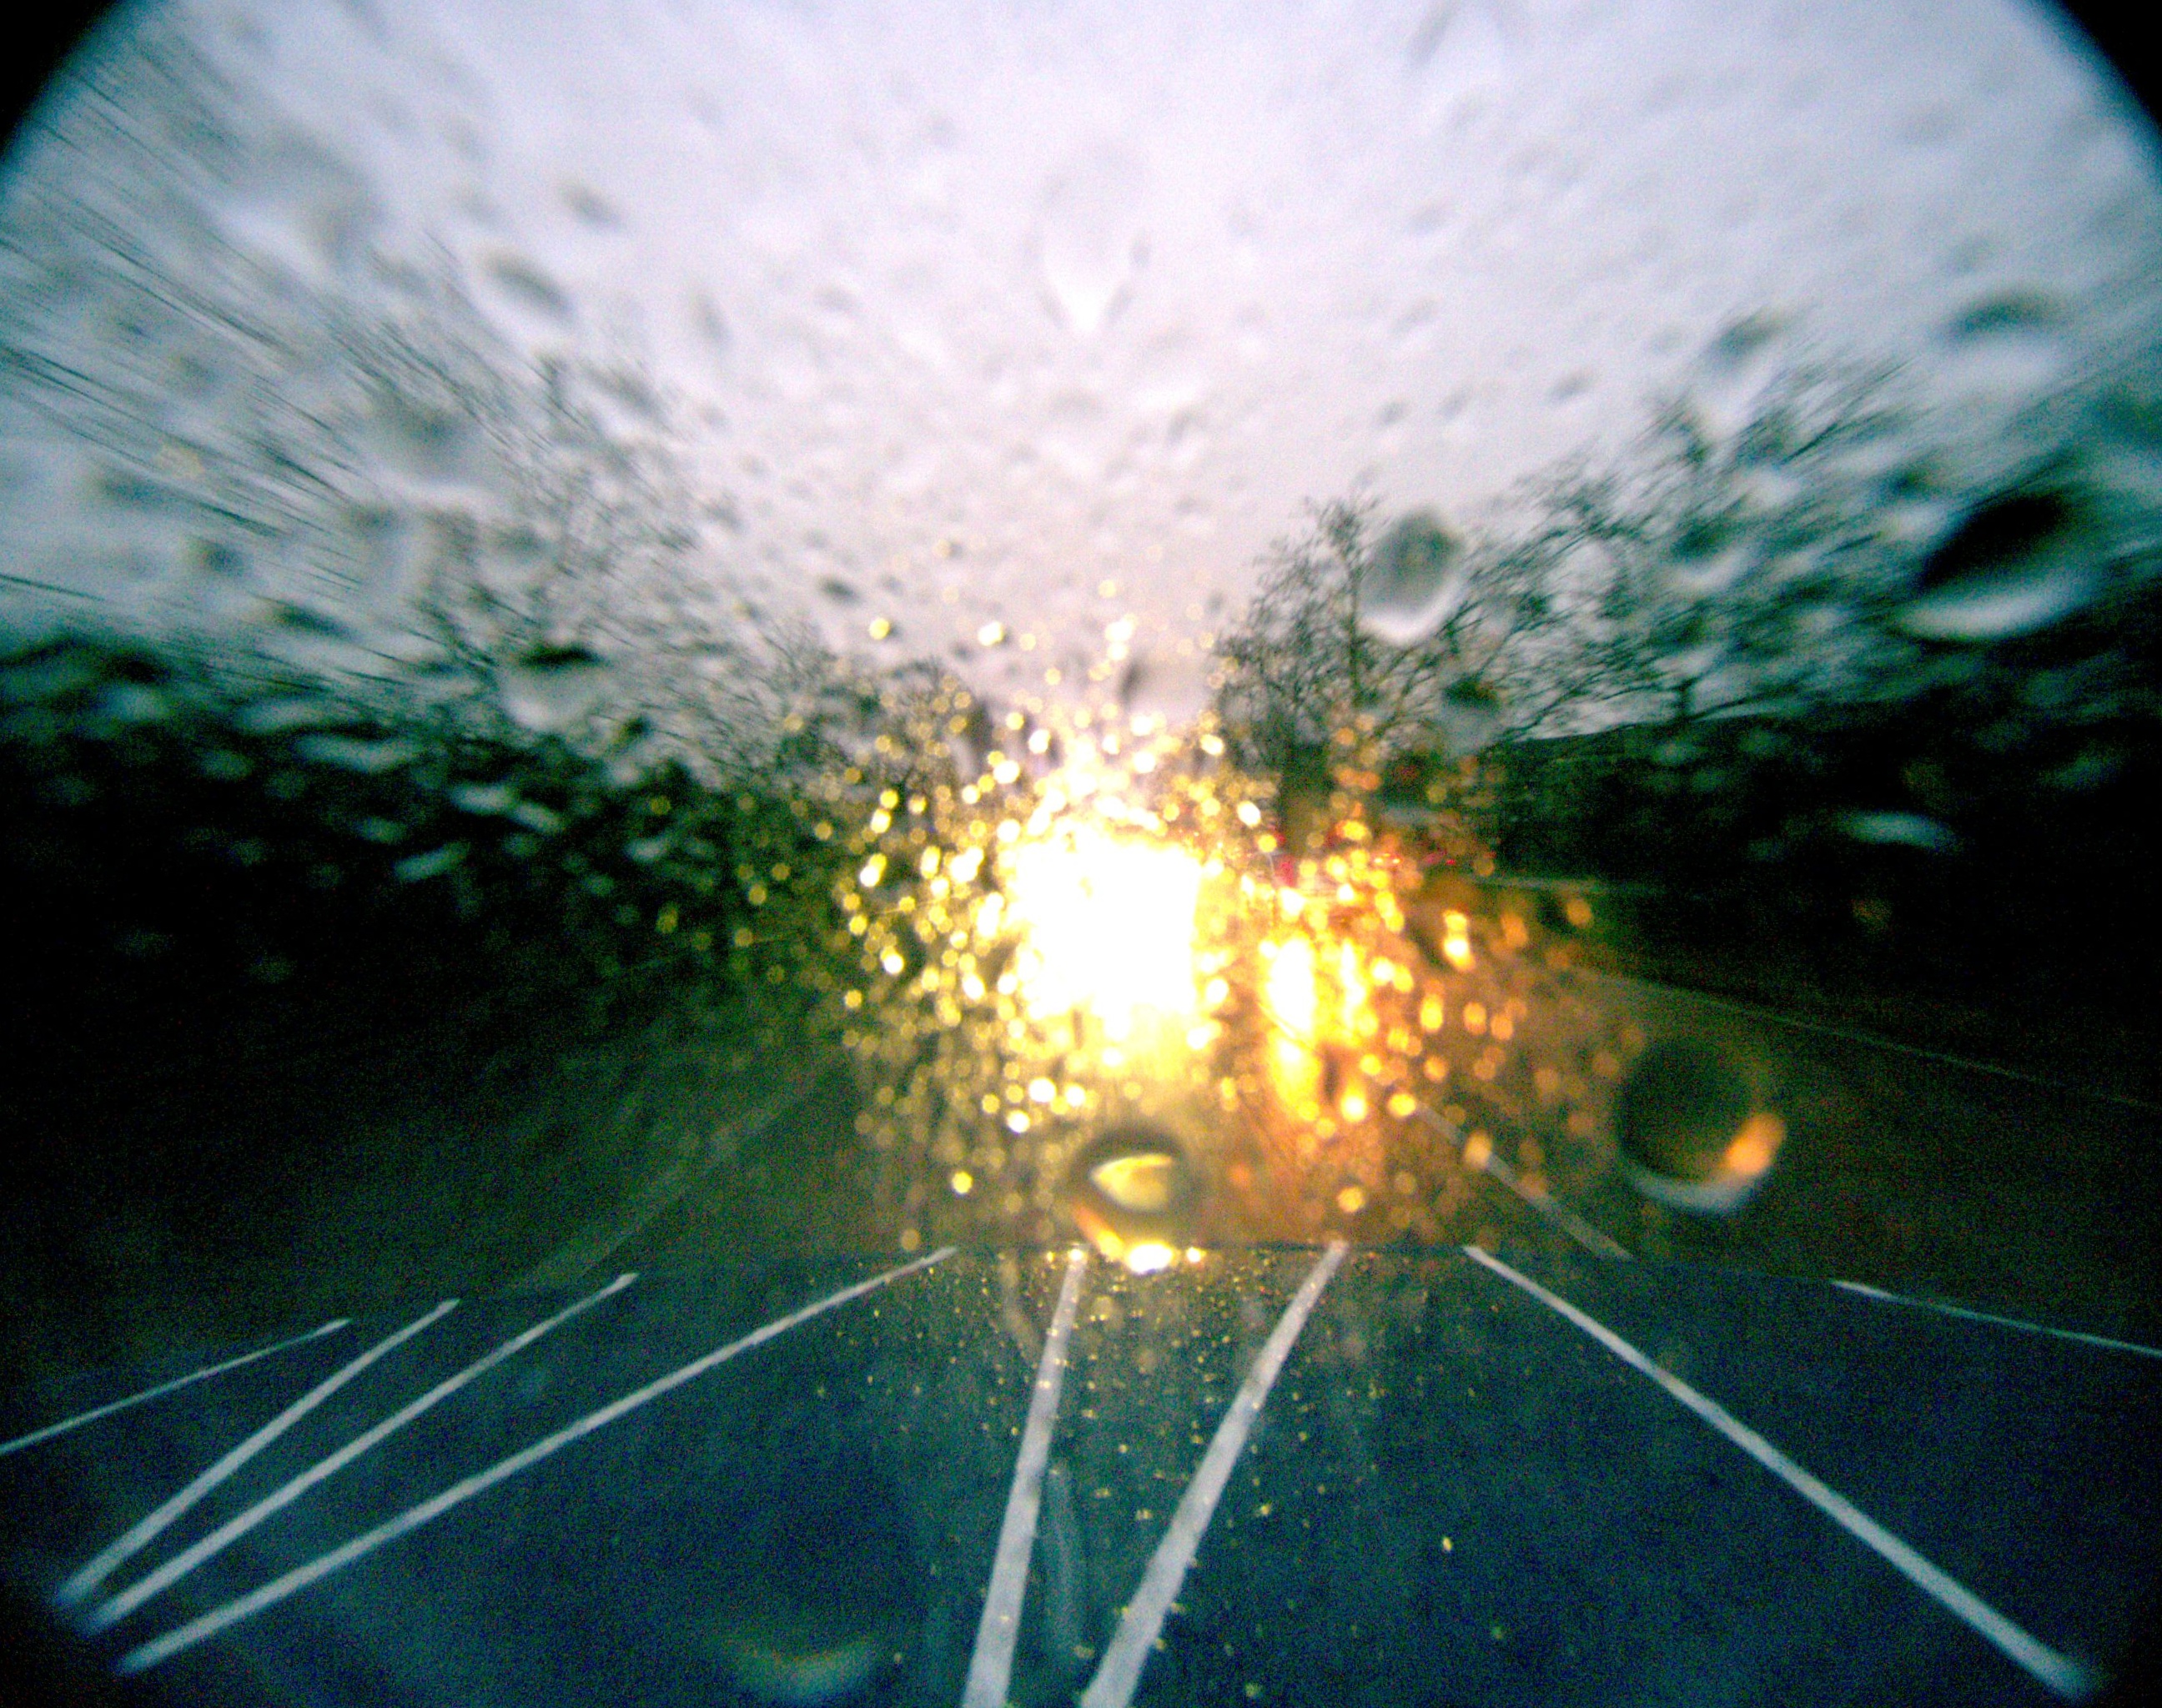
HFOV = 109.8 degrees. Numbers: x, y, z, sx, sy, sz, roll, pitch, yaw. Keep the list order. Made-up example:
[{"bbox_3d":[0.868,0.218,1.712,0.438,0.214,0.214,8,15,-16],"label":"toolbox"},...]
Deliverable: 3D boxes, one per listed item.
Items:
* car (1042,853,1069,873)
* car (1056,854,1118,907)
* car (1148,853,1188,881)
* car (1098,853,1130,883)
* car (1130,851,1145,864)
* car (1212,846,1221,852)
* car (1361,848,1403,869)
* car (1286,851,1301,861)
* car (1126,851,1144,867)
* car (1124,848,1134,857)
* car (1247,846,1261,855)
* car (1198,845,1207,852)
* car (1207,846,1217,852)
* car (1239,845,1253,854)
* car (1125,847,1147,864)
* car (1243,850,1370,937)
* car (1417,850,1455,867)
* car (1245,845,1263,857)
[{"bbox_3d":[-1.938,0.707,58.899,1.728,1.426,3.791,-1,1,3],"label":"car"},{"bbox_3d":[0.286,0.796,24.848,1.830,1.524,4.000,-1,1,3],"label":"car"},{"bbox_3d":[5.232,0.752,46.157,2.026,1.522,4.145,-1,1,2],"label":"car"},{"bbox_3d":[1.948,0.776,44.222,1.728,1.573,3.791,-1,1,4],"label":"car"},{"bbox_3d":[7.827,0.510,106.064,1.852,1.610,3.951,-2,1,2],"label":"car"},{"bbox_3d":[32.143,-1.276,180.399,1.540,1.304,4.000,-1,1,3],"label":"car"},{"bbox_3d":[22.541,0.301,57.005,1.752,1.417,3.978,-1,1,3],"label":"car"},{"bbox_3d":[33.548,0.340,119.950,1.752,1.387,4.302,-1,1,9],"label":"car"},{"bbox_3d":[5.921,0.566,83.865,1.852,1.610,3.951,-2,1,2],"label":"car"},{"bbox_3d":[9.524,-0.286,150.675,1.852,1.610,3.951,-2,1,2],"label":"car"},{"bbox_3d":[32.052,-0.696,140.951,1.722,1.480,4.272,-1,1,3],"label":"car"},{"bbox_3d":[26.965,-1.142,169.115,1.573,1.495,4.000,-2,1,3],"label":"car"},{"bbox_3d":[28.806,-1.054,167.228,1.540,1.320,3.956,-1,1,3],"label":"car"},{"bbox_3d":[26.782,-0.694,123.342,1.653,1.346,3.956,-1,1,3],"label":"car"},{"bbox_3d":[4.748,0.133,65.773,1.697,1.327,4.000,-2,1,2],"label":"car"},{"bbox_3d":[4.749,0.747,16.592,1.765,1.590,4.165,-1,1,4],"label":"car"},{"bbox_3d":[30.573,0.356,65.519,1.582,1.294,4.105,-1,1,4],"label":"car"},{"bbox_3d":[24.758,-0.433,108.873,1.787,1.524,4.378,-1,1,3],"label":"car"}]
